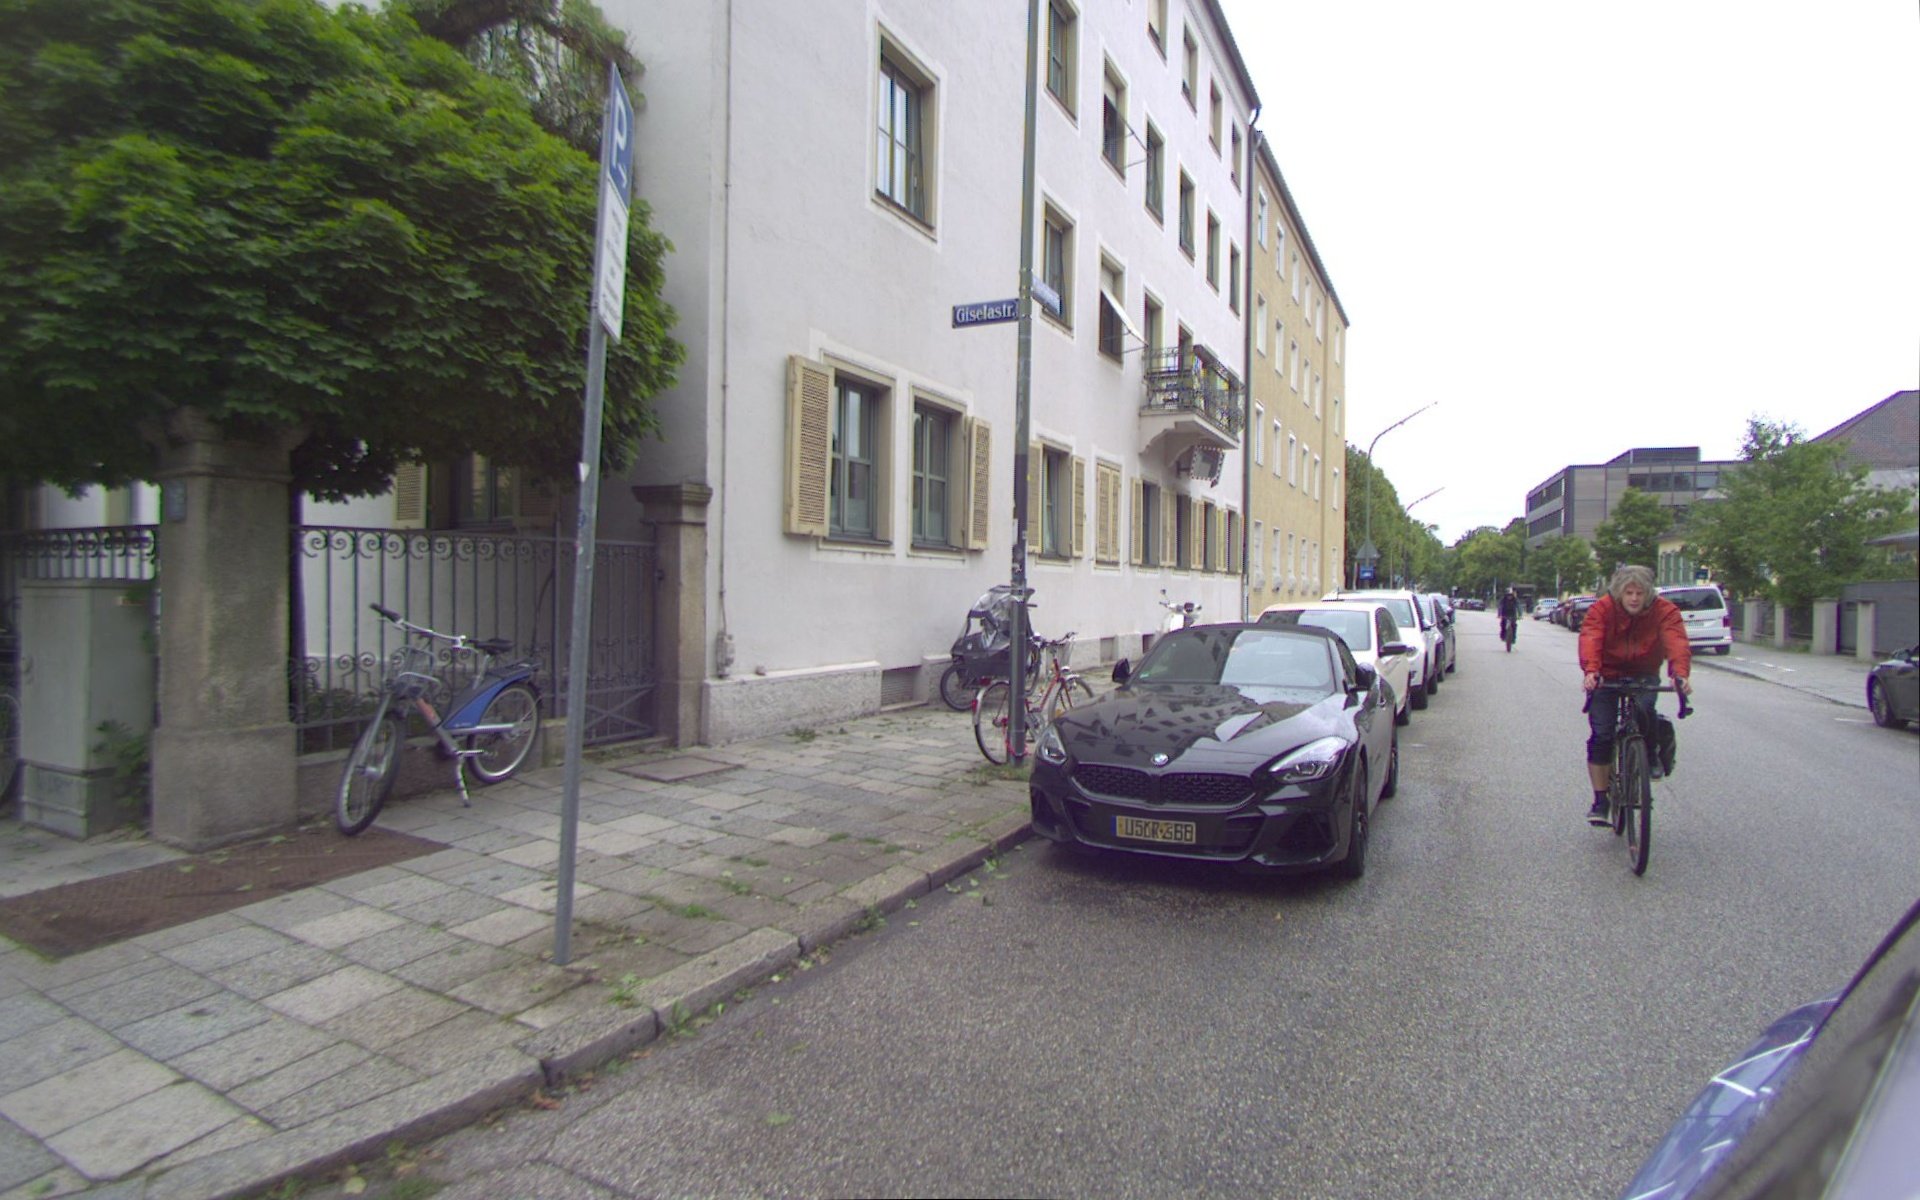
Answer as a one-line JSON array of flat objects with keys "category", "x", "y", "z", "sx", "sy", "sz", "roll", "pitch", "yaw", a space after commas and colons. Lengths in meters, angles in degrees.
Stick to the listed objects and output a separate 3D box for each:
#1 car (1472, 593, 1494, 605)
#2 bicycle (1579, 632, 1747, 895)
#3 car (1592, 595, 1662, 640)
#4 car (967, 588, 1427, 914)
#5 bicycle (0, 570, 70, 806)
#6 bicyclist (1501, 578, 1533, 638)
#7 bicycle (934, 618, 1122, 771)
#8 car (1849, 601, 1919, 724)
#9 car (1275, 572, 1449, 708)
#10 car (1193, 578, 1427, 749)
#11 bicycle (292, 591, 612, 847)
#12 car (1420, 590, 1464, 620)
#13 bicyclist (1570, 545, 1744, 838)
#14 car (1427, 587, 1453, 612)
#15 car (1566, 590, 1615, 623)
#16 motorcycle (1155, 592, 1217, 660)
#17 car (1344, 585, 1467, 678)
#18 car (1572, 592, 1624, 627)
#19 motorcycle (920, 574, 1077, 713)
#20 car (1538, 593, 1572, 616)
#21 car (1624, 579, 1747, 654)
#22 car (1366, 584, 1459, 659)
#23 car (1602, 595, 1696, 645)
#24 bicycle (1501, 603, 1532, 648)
[{"category": "car", "x": 63.097, "y": -0.119, "z": 122.161, "sx": 1.908, "sy": 1.416, "sz": 4.453, "roll": 2, "pitch": 1, "yaw": 22}, {"category": "bicycle", "x": 3.969, "y": 0.809, "z": 5.832, "sx": 0.669, "sy": 1.156, "sz": 1.988, "roll": 0, "pitch": 0, "yaw": 32}, {"category": "car", "x": 25.973, "y": 0.627, "z": 39.529, "sx": 1.848, "sy": 1.563, "sz": 4.146, "roll": 3, "pitch": 2, "yaw": 28}, {"category": "car", "x": 1.981, "y": 0.650, "z": 6.979, "sx": 1.988, "sy": 1.335, "sz": 4.551, "roll": 4, "pitch": 2, "yaw": 27}, {"category": "bicycle", "x": -6.079, "y": 0.473, "z": 6.022, "sx": 1.900, "sy": 1.292, "sz": 0.463, "roll": 1, "pitch": -1, "yaw": 26}, {"category": "bicyclist", "x": 15.841, "y": 0.228, "z": 28.798, "sx": 0.773, "sy": 1.688, "sz": 1.024, "roll": 0, "pitch": -1, "yaw": 28}, {"category": "bicycle", "x": 0.625, "y": 0.717, "z": 8.470, "sx": 0.661, "sy": 1.077, "sz": 1.914, "roll": 2, "pitch": 1, "yaw": 35}, {"category": "car", "x": 11.978, "y": 0.744, "z": 11.252, "sx": 1.794, "sy": 1.420, "sz": 4.882, "roll": 0, "pitch": 0, "yaw": 25}, {"category": "car", "x": 6.238, "y": 0.509, "z": 15.372, "sx": 1.981, "sy": 1.728, "sz": 4.490, "roll": -1, "pitch": 0, "yaw": 28}, {"category": "car", "x": 4.053, "y": 0.622, "z": 11.352, "sx": 1.761, "sy": 1.566, "sz": 3.672, "roll": -4, "pitch": -2, "yaw": 30}, {"category": "bicycle", "x": -2.876, "y": 0.584, "z": 5.948, "sx": 0.537, "sy": 1.240, "sz": 1.764, "roll": 2, "pitch": 2, "yaw": 22}, {"category": "car", "x": 27.319, "y": 0.250, "z": 57.276, "sx": 1.982, "sy": 1.651, "sz": 5.048, "roll": 0, "pitch": 0, "yaw": 29}, {"category": "bicyclist", "x": 3.948, "y": 0.464, "z": 5.802, "sx": 0.751, "sy": 1.502, "sz": 0.970, "roll": 0, "pitch": 0, "yaw": 32}, {"category": "car", "x": 38.578, "y": -0.043, "z": 81.312, "sx": 1.772, "sy": 1.919, "sz": 4.532, "roll": 0, "pitch": 0, "yaw": 26}, {"category": "car", "x": 34.266, "y": 0.343, "z": 55.071, "sx": 1.890, "sy": 1.713, "sz": 4.761, "roll": 0, "pitch": 0, "yaw": 28}, {"category": "motorcycle", "x": 4.442, "y": 0.475, "z": 19.812, "sx": 0.727, "sy": 1.255, "sz": 1.989, "roll": 0, "pitch": 0, "yaw": 26}, {"category": "car", "x": 8.861, "y": 0.535, "z": 19.921, "sx": 1.828, "sy": 1.550, "sz": 4.371, "roll": 2, "pitch": 1, "yaw": 29}, {"category": "car", "x": 30.901, "y": 0.410, "z": 49.107, "sx": 1.835, "sy": 1.628, "sz": 4.695, "roll": 0, "pitch": 0, "yaw": 29}, {"category": "motorcycle", "x": 0.535, "y": 0.440, "z": 12.028, "sx": 0.851, "sy": 1.451, "sz": 2.682, "roll": 1, "pitch": 1, "yaw": 26}, {"category": "car", "x": 41.721, "y": 0.302, "z": 70.993, "sx": 1.713, "sy": 1.511, "sz": 4.420, "roll": 0, "pitch": 0, "yaw": 26}, {"category": "car", "x": 21.126, "y": 0.423, "z": 29.698, "sx": 1.952, "sy": 2.015, "sz": 5.108, "roll": 0, "pitch": 0, "yaw": 25}, {"category": "car", "x": 11.118, "y": 0.453, "z": 24.824, "sx": 1.847, "sy": 1.596, "sz": 4.857, "roll": 2, "pitch": 1, "yaw": 25}, {"category": "car", "x": 23.722, "y": 0.628, "z": 35.017, "sx": 1.873, "sy": 1.563, "sz": 4.657, "roll": 1, "pitch": 1, "yaw": 24}, {"category": "bicycle", "x": 15.813, "y": 0.716, "z": 28.763, "sx": 0.714, "sy": 1.222, "sz": 1.783, "roll": 0, "pitch": -1, "yaw": 27}]
